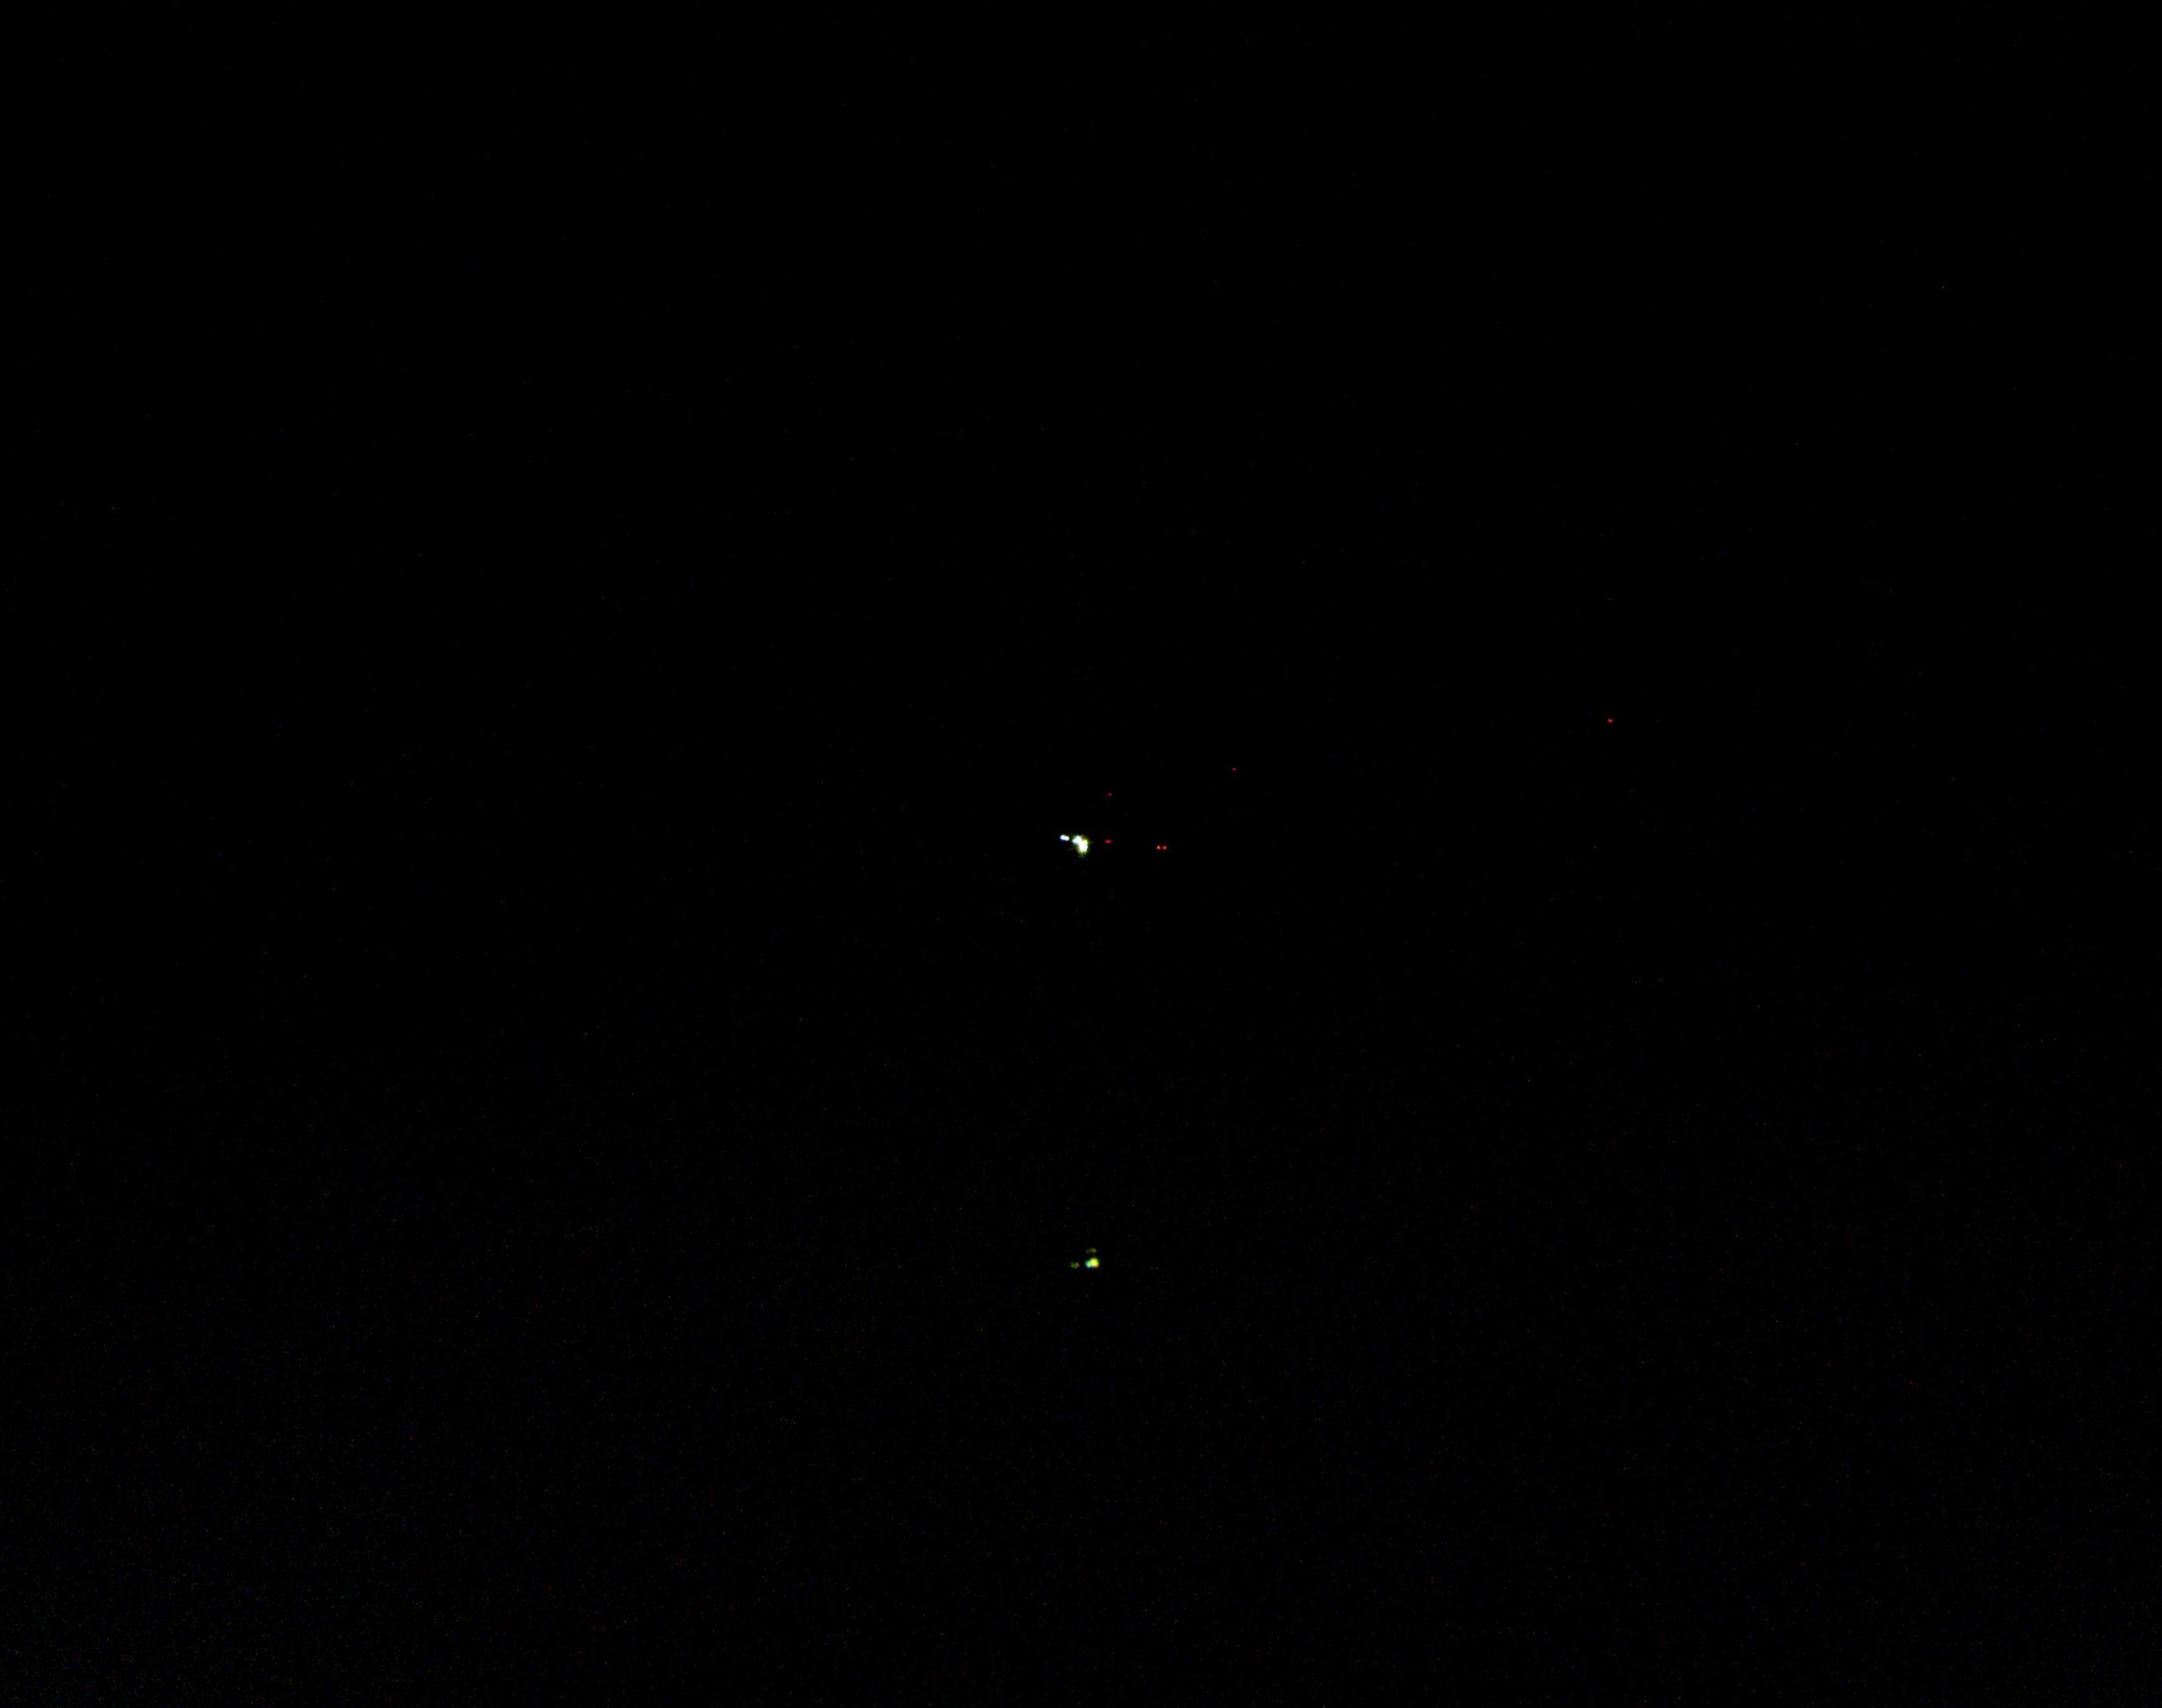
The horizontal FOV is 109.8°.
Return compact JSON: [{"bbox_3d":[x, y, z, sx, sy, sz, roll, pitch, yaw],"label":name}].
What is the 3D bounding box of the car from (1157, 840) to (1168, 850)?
[{"bbox_3d":[25.933,-2.853,241.293,2.853,2.921,6.600,-2,2,1],"label":"car"}]
